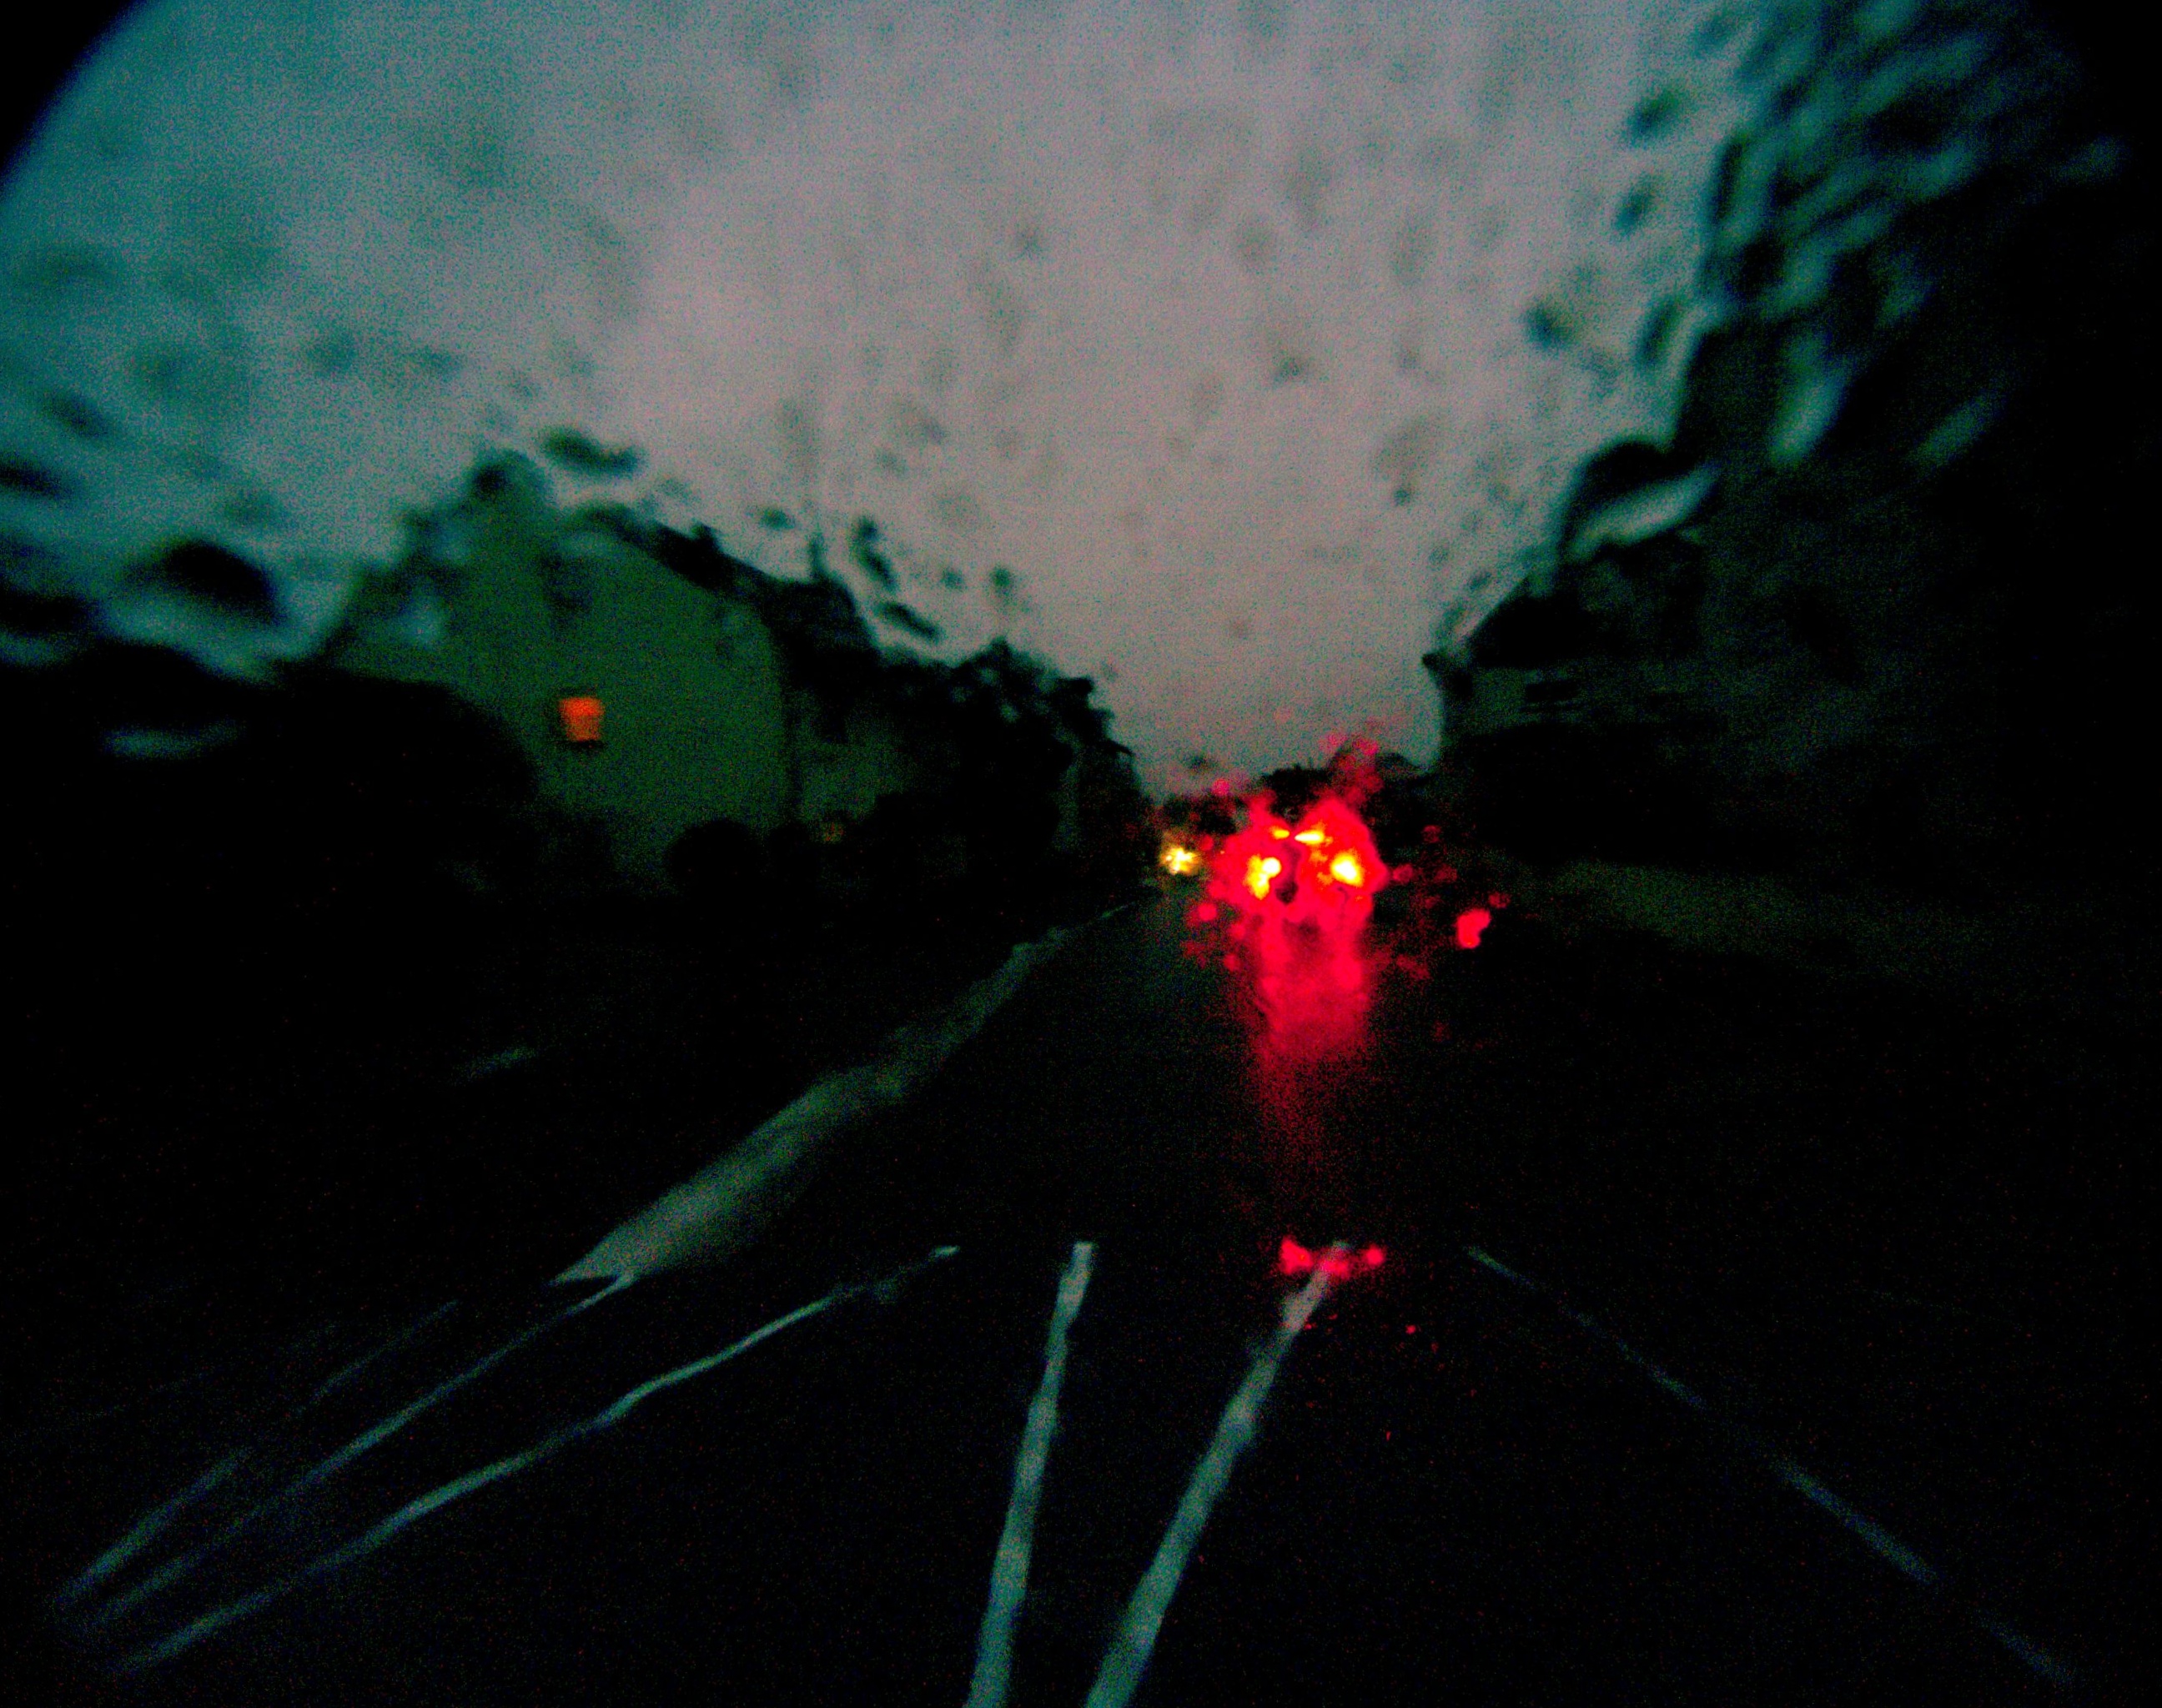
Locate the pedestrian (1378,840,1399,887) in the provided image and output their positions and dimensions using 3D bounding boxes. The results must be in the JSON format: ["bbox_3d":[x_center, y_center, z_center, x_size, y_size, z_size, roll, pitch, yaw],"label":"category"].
[{"bbox_3d":[11.555,0.344,28.553,0.598,1.723,0.813,-3,2,18],"label":"pedestrian"}]

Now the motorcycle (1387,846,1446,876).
[{"bbox_3d":[15.579,0.338,35.340,1.059,1.291,2.233,-3,0,-38],"label":"motorcycle"}]

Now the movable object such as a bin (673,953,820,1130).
[{"bbox_3d":[-2.059,1.134,4.748,0.538,0.932,0.690,-2,1,6],"label":"movable object such as a bin"}]

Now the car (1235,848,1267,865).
[{"bbox_3d":[15.193,0.221,68.086,1.828,1.432,4.066,-3,0,-2],"label":"car"}]

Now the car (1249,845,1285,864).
[{"bbox_3d":[15.207,0.045,62.371,1.753,1.380,4.145,-3,0,-2],"label":"car"}]

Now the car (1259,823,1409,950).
[{"bbox_3d":[4.640,0.512,14.727,2.114,2.015,4.986,-1,0,11],"label":"car"}]
